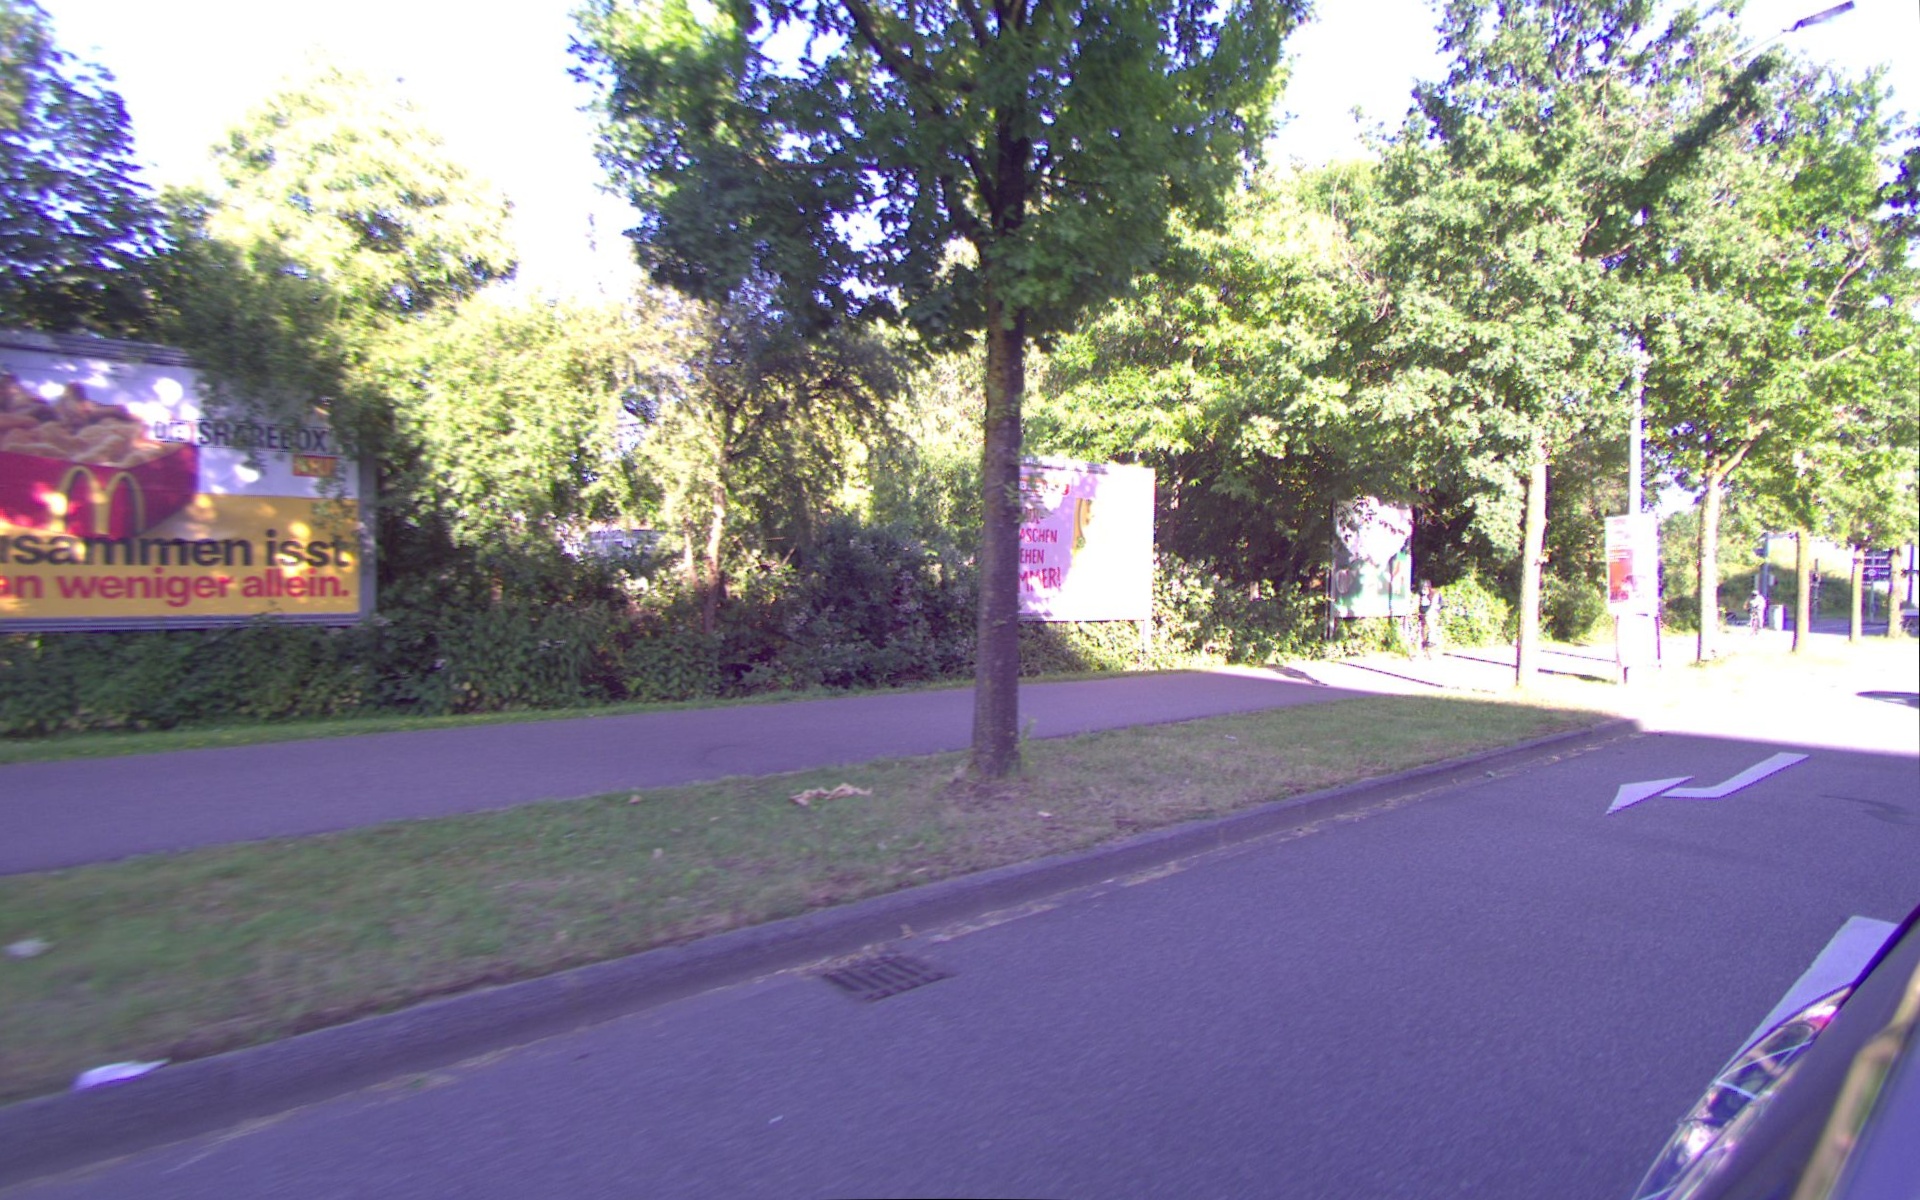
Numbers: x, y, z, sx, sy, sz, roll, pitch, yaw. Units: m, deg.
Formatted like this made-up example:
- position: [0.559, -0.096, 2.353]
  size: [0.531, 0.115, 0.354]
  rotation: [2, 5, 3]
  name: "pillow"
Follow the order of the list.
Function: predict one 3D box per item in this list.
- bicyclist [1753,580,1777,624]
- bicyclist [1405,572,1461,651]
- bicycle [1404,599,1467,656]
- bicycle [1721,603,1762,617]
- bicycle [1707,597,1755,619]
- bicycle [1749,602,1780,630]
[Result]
- position: [30.386, 0.083, 38.199]
  size: [0.850, 1.630, 0.566]
  rotation: [0, 1, -42]
  name: "bicyclist"
- position: [9.546, 0.212, 20.418]
  size: [1.019, 1.541, 0.685]
  rotation: [0, 1, -44]
  name: "bicyclist"
- position: [9.652, 0.534, 20.509]
  size: [1.904, 1.086, 0.516]
  rotation: [0, 2, -45]
  name: "bicycle"
- position: [40.195, 0.511, 52.104]
  size: [0.830, 0.629, 2.186]
  rotation: [3, 2, 14]
  name: "bicycle"
- position: [41.138, 0.421, 54.020]
  size: [0.445, 1.066, 1.999]
  rotation: [0, 1, -28]
  name: "bicycle"
- position: [30.479, 0.589, 38.324]
  size: [2.011, 1.004, 0.572]
  rotation: [1, 1, -42]
  name: "bicycle"
